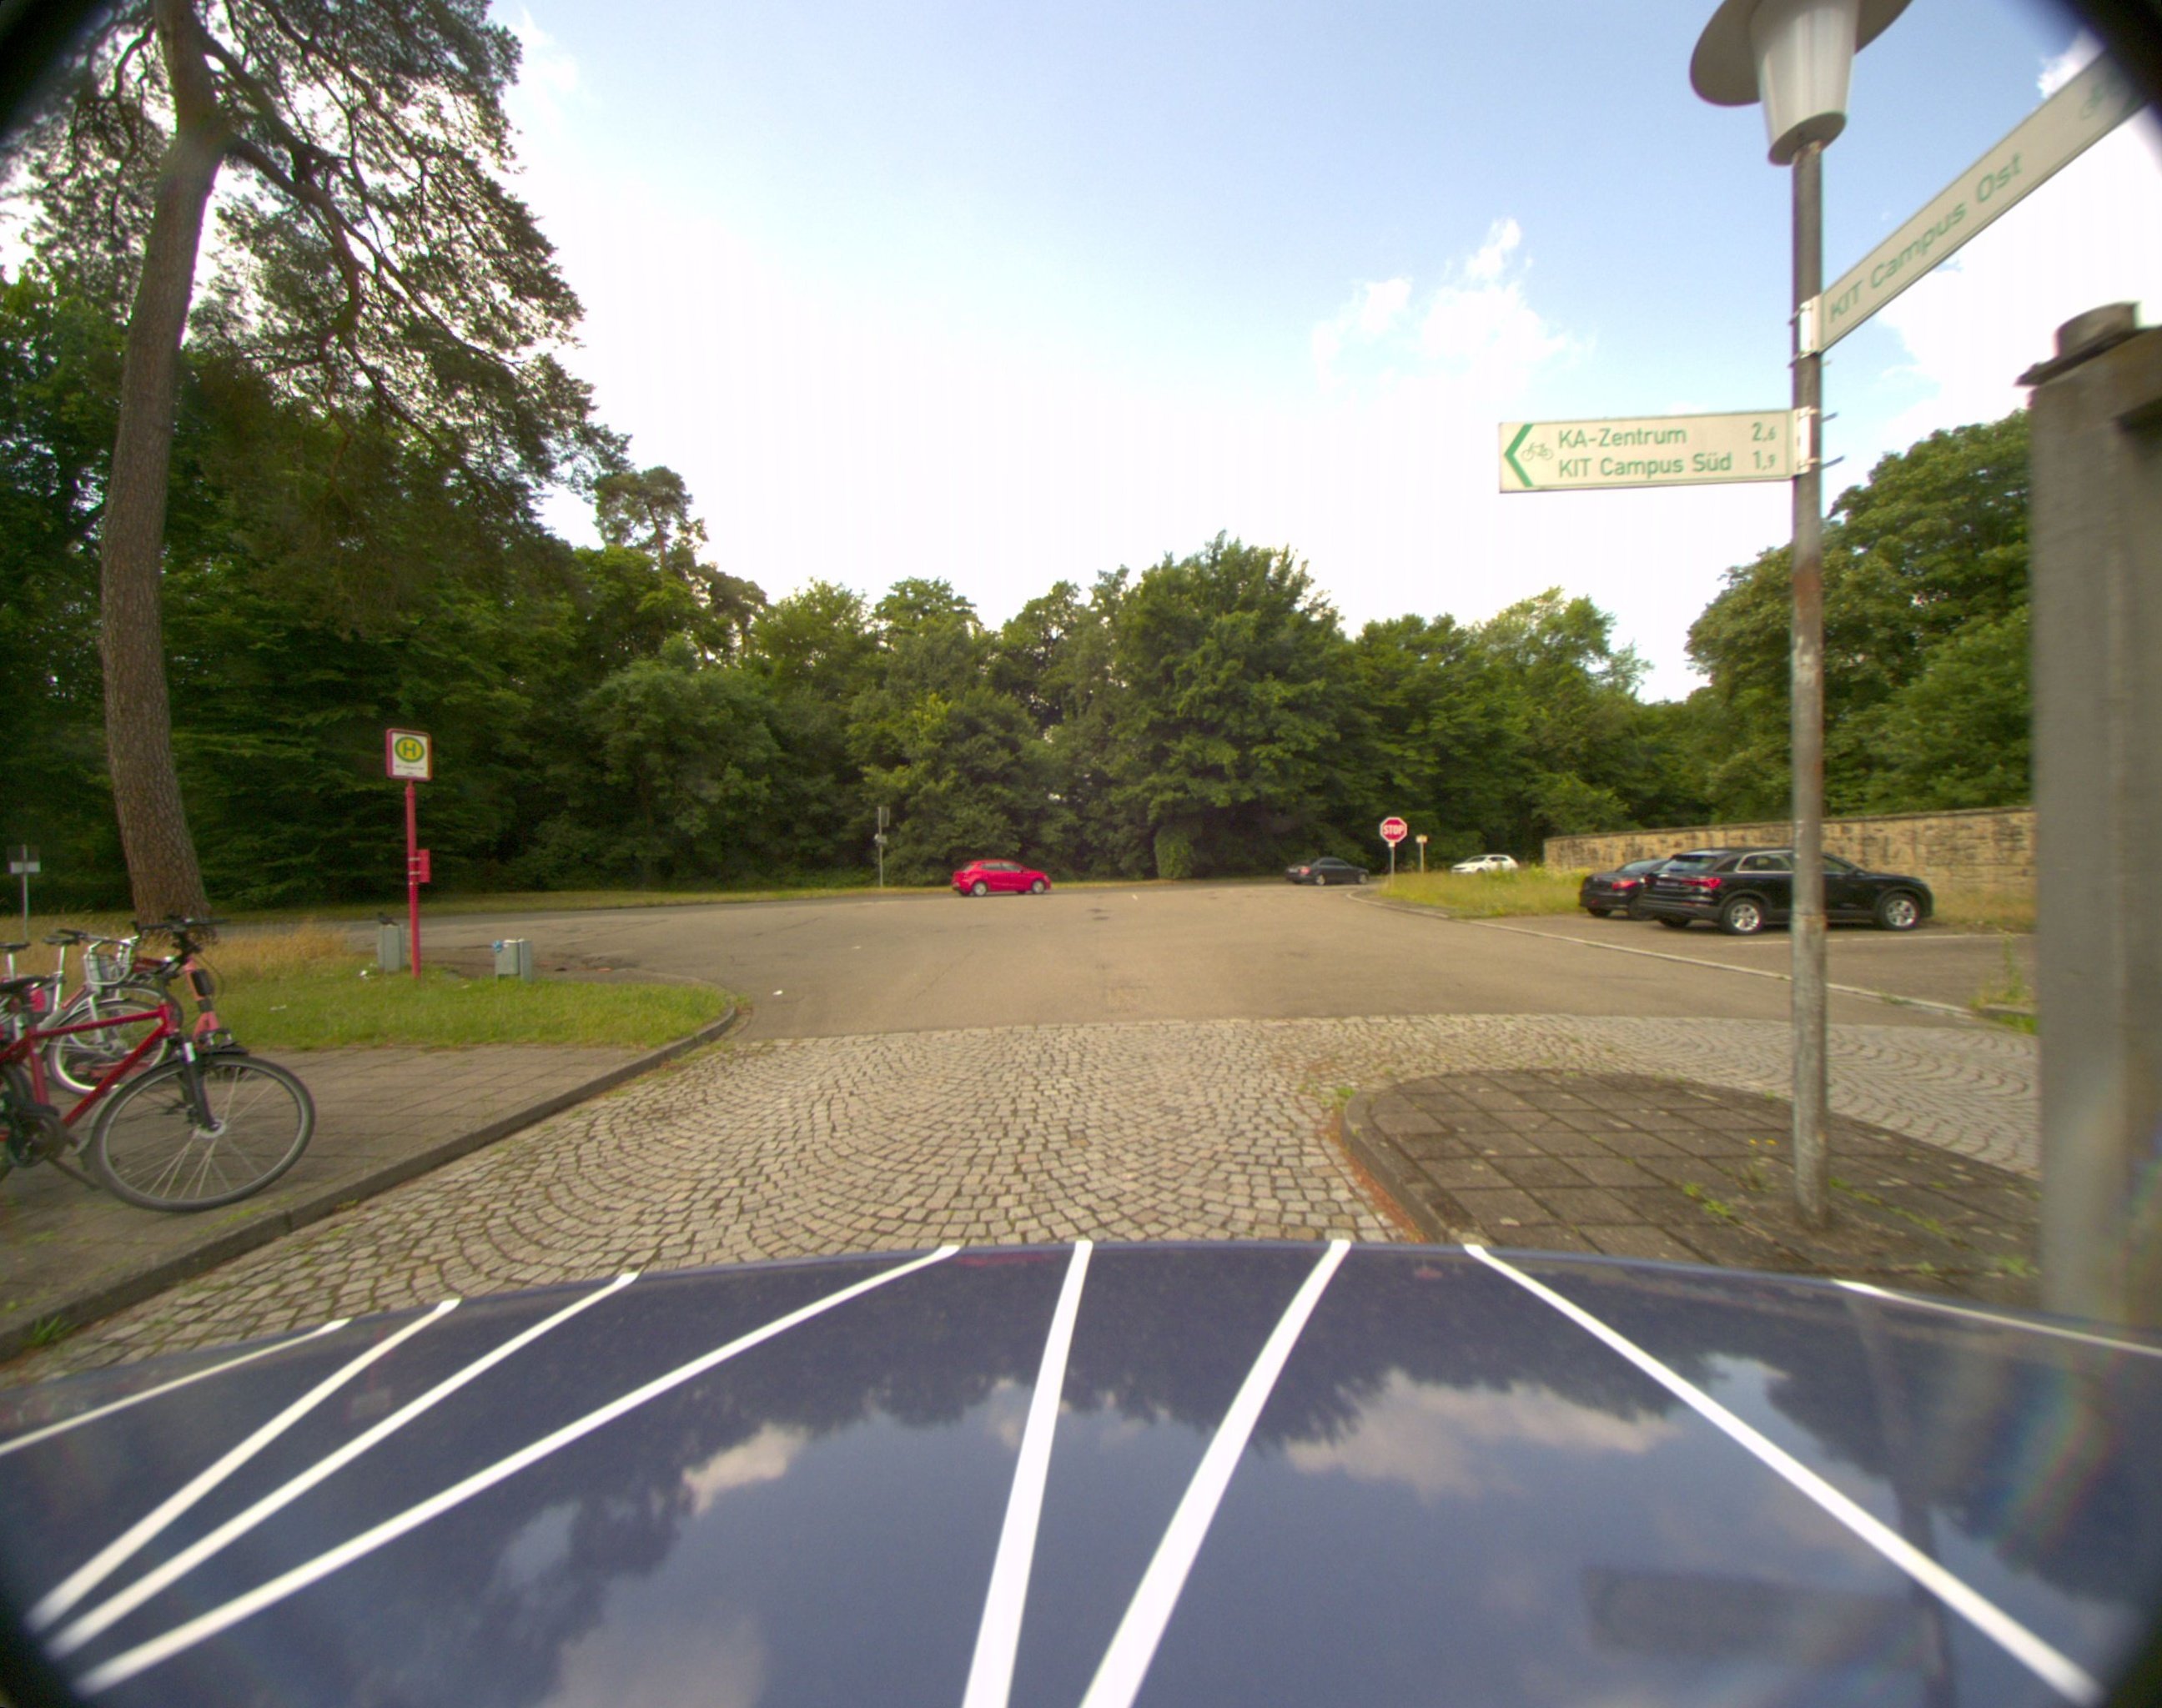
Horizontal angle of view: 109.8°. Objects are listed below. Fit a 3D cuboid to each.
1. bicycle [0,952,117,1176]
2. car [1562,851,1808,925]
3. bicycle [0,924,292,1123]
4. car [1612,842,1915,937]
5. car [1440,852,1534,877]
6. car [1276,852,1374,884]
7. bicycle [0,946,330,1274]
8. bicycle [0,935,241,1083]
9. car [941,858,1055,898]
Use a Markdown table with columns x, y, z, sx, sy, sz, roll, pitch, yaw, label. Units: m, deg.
| x | y | z | sx | sy | sz | roll | pitch | yaw | label |
| --- | --- | --- | --- | --- | --- | --- | --- | --- | --- |
| -6.680 | 1.194 | 4.457 | 1.608 | 1.155 | 0.623 | 0 | -1 | 12 | bicycle |
| 13.625 | 0.735 | 17.349 | 3.996 | 1.433 | 1.880 | -3 | 0 | 4 | car |
| -7.009 | 1.155 | 5.325 | 2.173 | 1.233 | 0.635 | 0 | 1 | -3 | bicycle |
| 12.943 | 0.648 | 14.653 | 3.996 | 1.537 | 1.900 | -3 | 0 | 4 | car |
| 25.322 | 0.638 | 47.427 | 5.417 | 1.370 | 1.997 | -1 | 0 | -19 | car |
| 12.434 | 0.676 | 38.689 | 4.534 | 1.455 | 1.963 | -2 | 0 | -23 | car |
| -4.665 | 1.104 | 3.468 | 1.739 | 1.270 | 0.672 | 0 | 1 | -3 | bicycle |
| -8.463 | 1.295 | 6.494 | 1.681 | 1.078 | 0.740 | -1 | 2 | 0 | bicycle |
| -3.398 | 0.930 | 31.283 | 4.210 | 1.455 | 1.995 | -1 | 0 | -30 | car |
